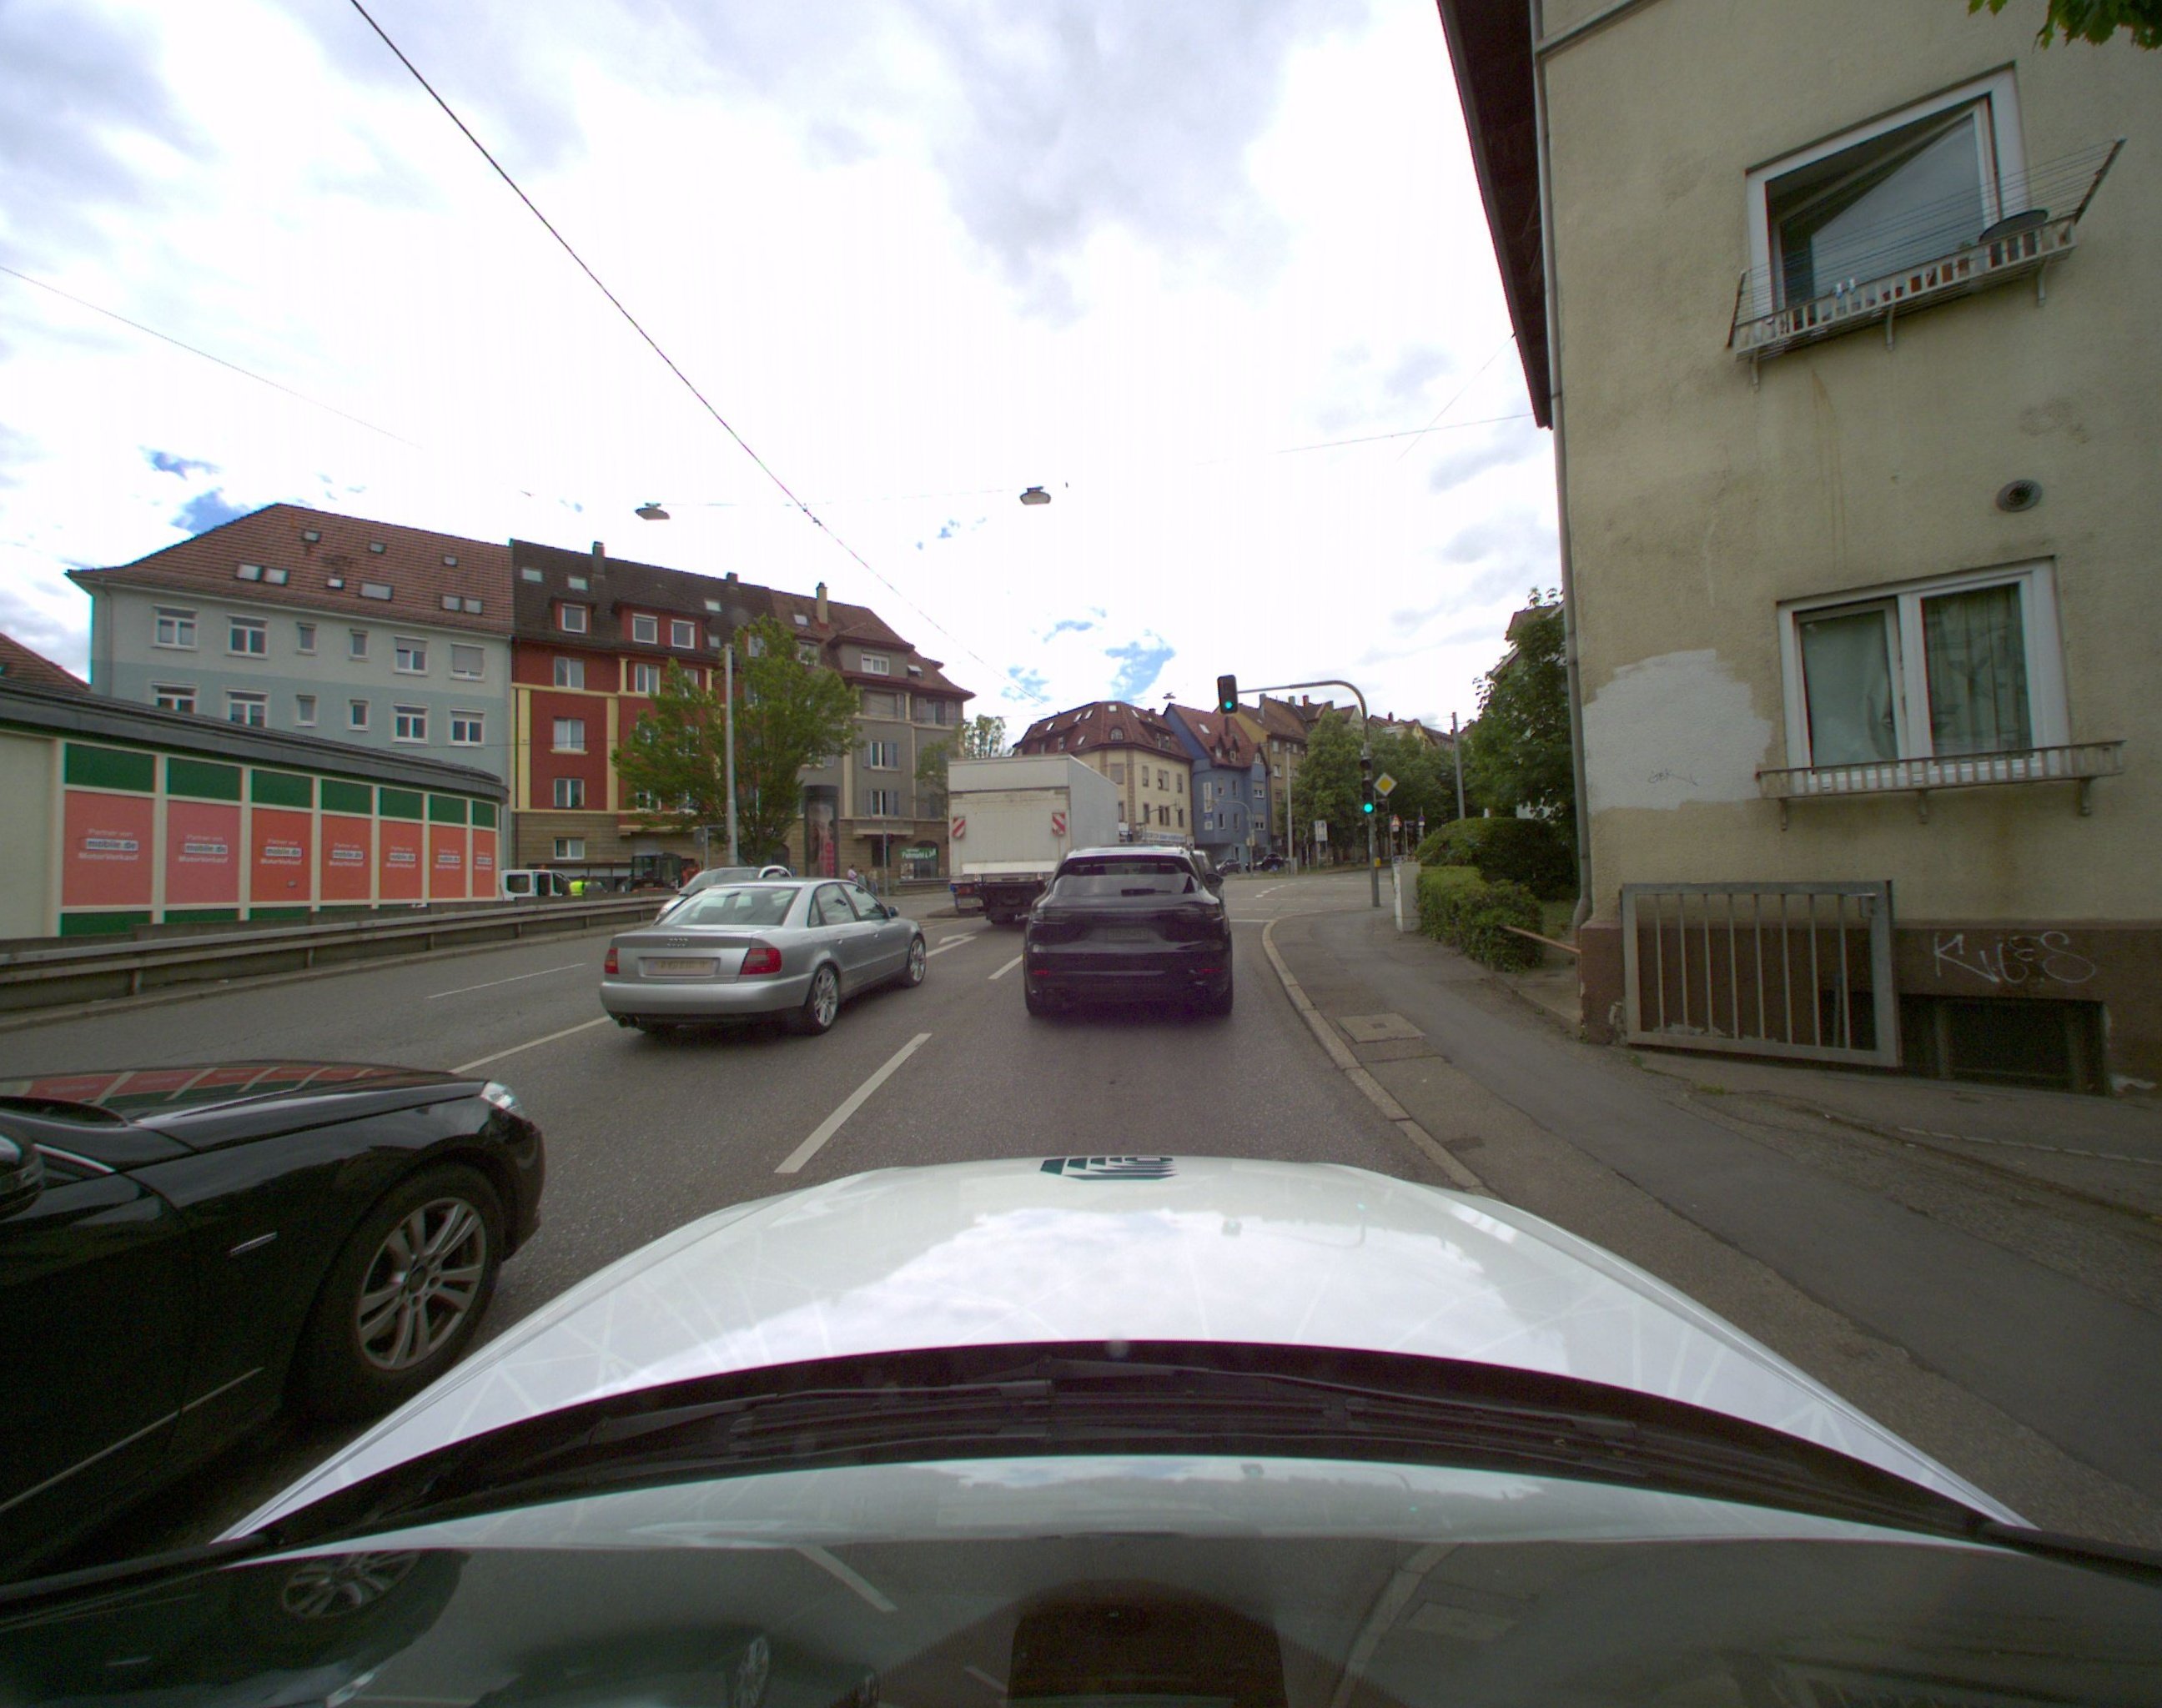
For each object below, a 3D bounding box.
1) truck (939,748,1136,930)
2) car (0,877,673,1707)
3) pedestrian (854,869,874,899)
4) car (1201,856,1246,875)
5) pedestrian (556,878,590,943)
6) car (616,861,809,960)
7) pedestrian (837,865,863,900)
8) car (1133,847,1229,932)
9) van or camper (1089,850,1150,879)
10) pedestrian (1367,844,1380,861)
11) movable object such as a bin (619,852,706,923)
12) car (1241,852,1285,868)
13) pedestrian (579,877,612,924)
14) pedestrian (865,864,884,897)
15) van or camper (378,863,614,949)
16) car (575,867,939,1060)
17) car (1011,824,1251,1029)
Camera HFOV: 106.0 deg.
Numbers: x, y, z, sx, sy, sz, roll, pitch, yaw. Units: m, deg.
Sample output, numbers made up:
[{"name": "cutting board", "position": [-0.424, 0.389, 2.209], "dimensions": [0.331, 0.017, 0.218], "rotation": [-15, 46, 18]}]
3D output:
[{"name": "truck", "position": [-0.607, -0.287, 20.214], "dimensions": [2.707, 3.544, 8.450], "rotation": [-1, 0, 12]}, {"name": "car", "position": [-2.839, 0.835, 1.098], "dimensions": [1.986, 1.429, 4.844], "rotation": [-1, 0, 2]}, {"name": "pedestrian", "position": [-9.919, 1.368, 37.195], "dimensions": [0.568, 1.338, 0.588], "rotation": [-2, -1, 31]}, {"name": "car", "position": [12.344, 0.981, 70.569], "dimensions": [1.700, 1.476, 4.244], "rotation": [-4, -2, 44]}, {"name": "pedestrian", "position": [-16.462, 1.803, 26.388], "dimensions": [0.830, 2.013, 0.672], "rotation": [-1, 0, -37]}, {"name": "car", "position": [-6.330, 0.899, 14.424], "dimensions": [1.591, 1.447, 3.533], "rotation": [-3, -1, 3]}, {"name": "pedestrian", "position": [-10.285, 1.262, 36.308], "dimensions": [0.785, 1.546, 0.743], "rotation": [-1, 0, 29]}, {"name": "car", "position": [2.174, 0.684, 16.963], "dimensions": [1.638, 1.556, 3.594], "rotation": [-1, -1, 12]}, {"name": "van or camper", "position": [2.777, 0.785, 60.025], "dimensions": [2.008, 2.014, 4.778], "rotation": [0, -1, -35]}, {"name": "pedestrian", "position": [35.762, -0.212, 99.455], "dimensions": [1.181, 2.013, 0.995], "rotation": [-2, -1, 42]}, {"name": "movable object such as a bin", "position": [-13.157, 1.010, 25.789], "dimensions": [1.375, 2.013, 3.524], "rotation": [-2, 0, -10]}, {"name": "car", "position": [16.911, 0.546, 75.699], "dimensions": [1.852, 1.416, 4.727], "rotation": [-4, -2, 42]}, {"name": "pedestrian", "position": [-14.642, 1.400, 24.579], "dimensions": [0.594, 1.363, 0.630], "rotation": [-3, -1, 35]}, {"name": "pedestrian", "position": [-9.572, 1.226, 37.779], "dimensions": [0.517, 1.487, 0.657], "rotation": [-2, 0, 26]}, {"name": "van or camper", "position": [-18.996, 1.593, 26.890], "dimensions": [6.028, 2.338, 2.661], "rotation": [-2, -1, -33]}, {"name": "car", "position": [-2.892, 0.892, 8.366], "dimensions": [1.620, 1.365, 4.136], "rotation": [-3, 0, 7]}, {"name": "car", "position": [0.494, 0.603, 9.202], "dimensions": [2.024, 1.723, 4.502], "rotation": [-1, 0, 2]}]
